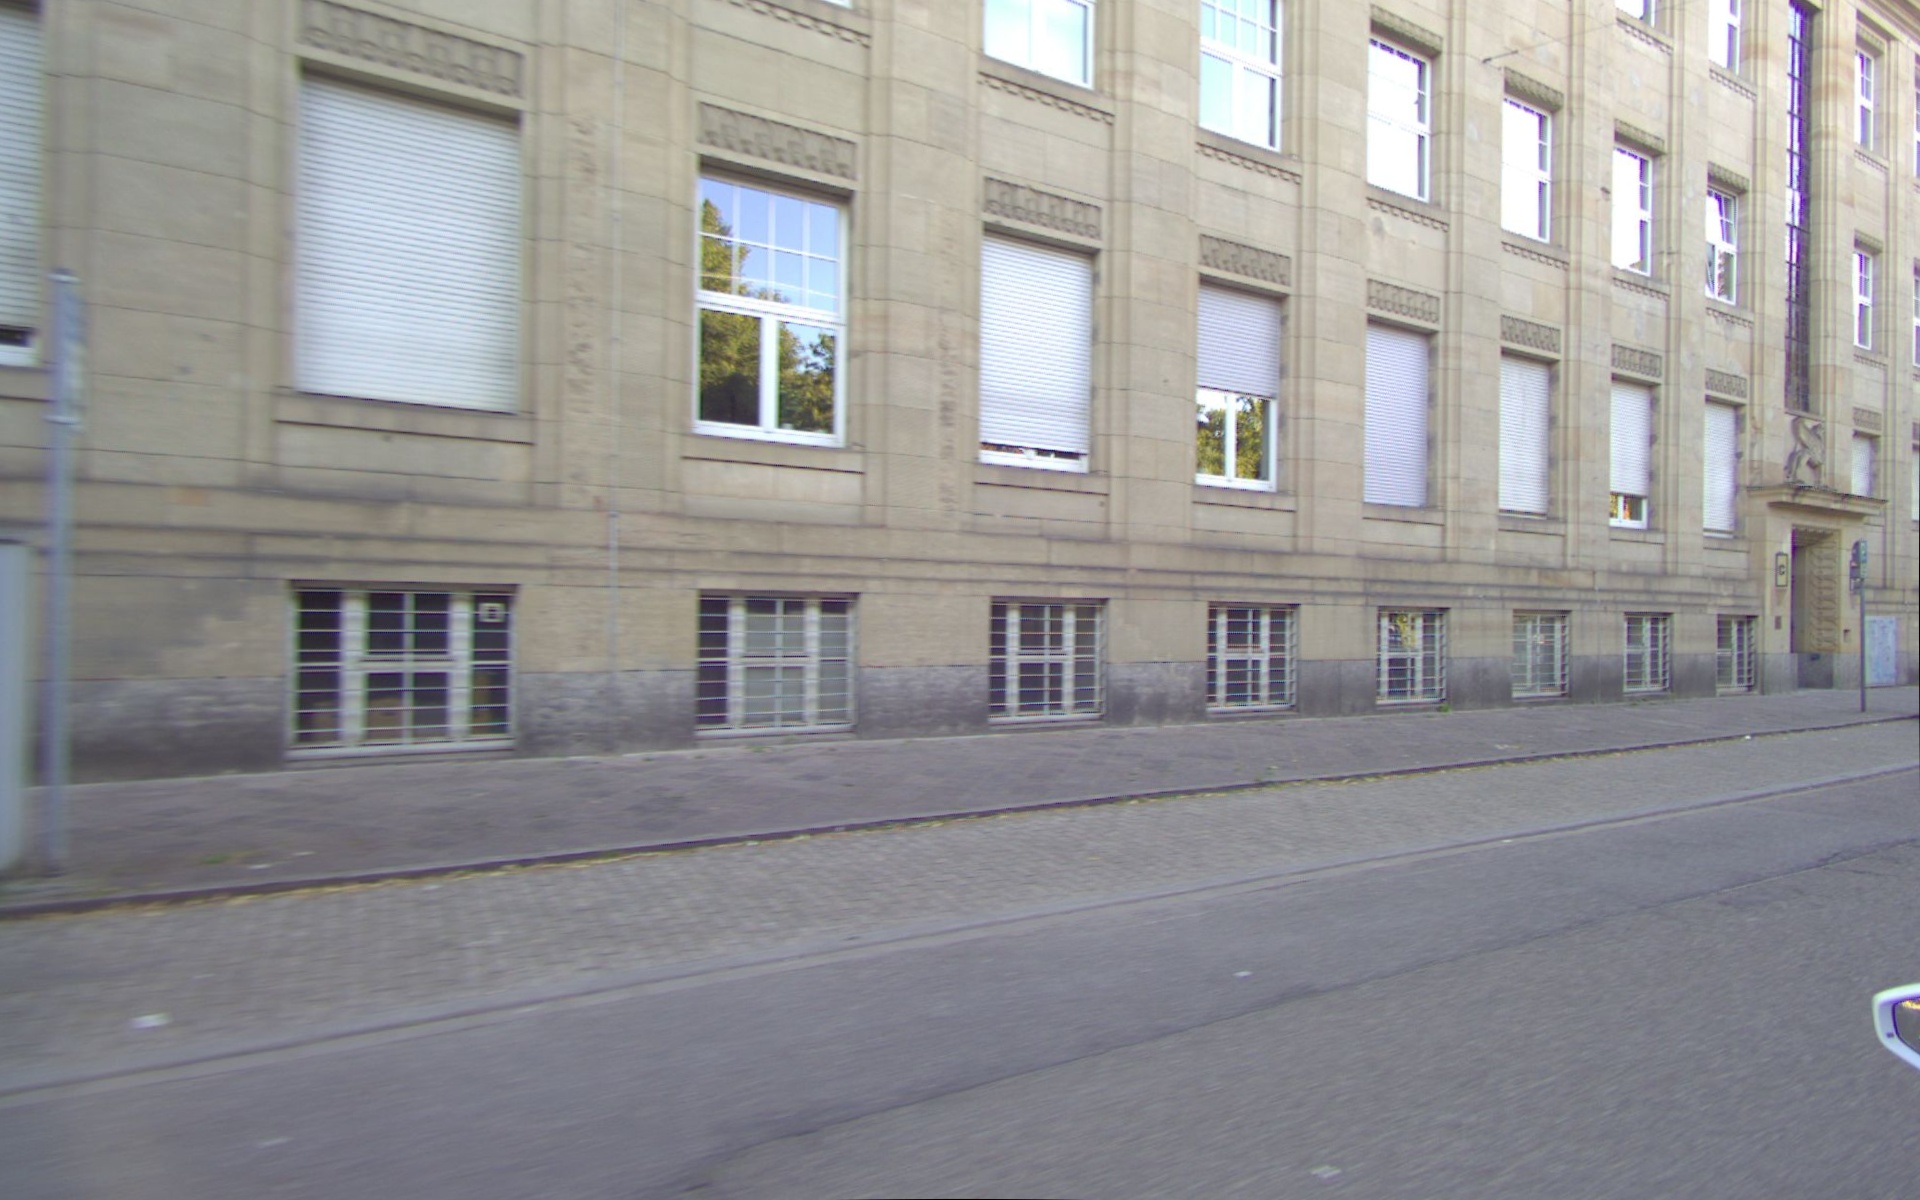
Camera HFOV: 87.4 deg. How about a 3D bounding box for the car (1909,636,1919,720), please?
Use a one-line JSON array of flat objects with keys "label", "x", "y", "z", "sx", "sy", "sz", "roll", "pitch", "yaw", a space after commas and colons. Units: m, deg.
[{"label": "car", "x": 18.330, "y": 1.346, "z": 17.456, "sx": 4.325, "sy": 1.416, "sz": 1.717, "roll": 1, "pitch": -1, "yaw": -33}]
